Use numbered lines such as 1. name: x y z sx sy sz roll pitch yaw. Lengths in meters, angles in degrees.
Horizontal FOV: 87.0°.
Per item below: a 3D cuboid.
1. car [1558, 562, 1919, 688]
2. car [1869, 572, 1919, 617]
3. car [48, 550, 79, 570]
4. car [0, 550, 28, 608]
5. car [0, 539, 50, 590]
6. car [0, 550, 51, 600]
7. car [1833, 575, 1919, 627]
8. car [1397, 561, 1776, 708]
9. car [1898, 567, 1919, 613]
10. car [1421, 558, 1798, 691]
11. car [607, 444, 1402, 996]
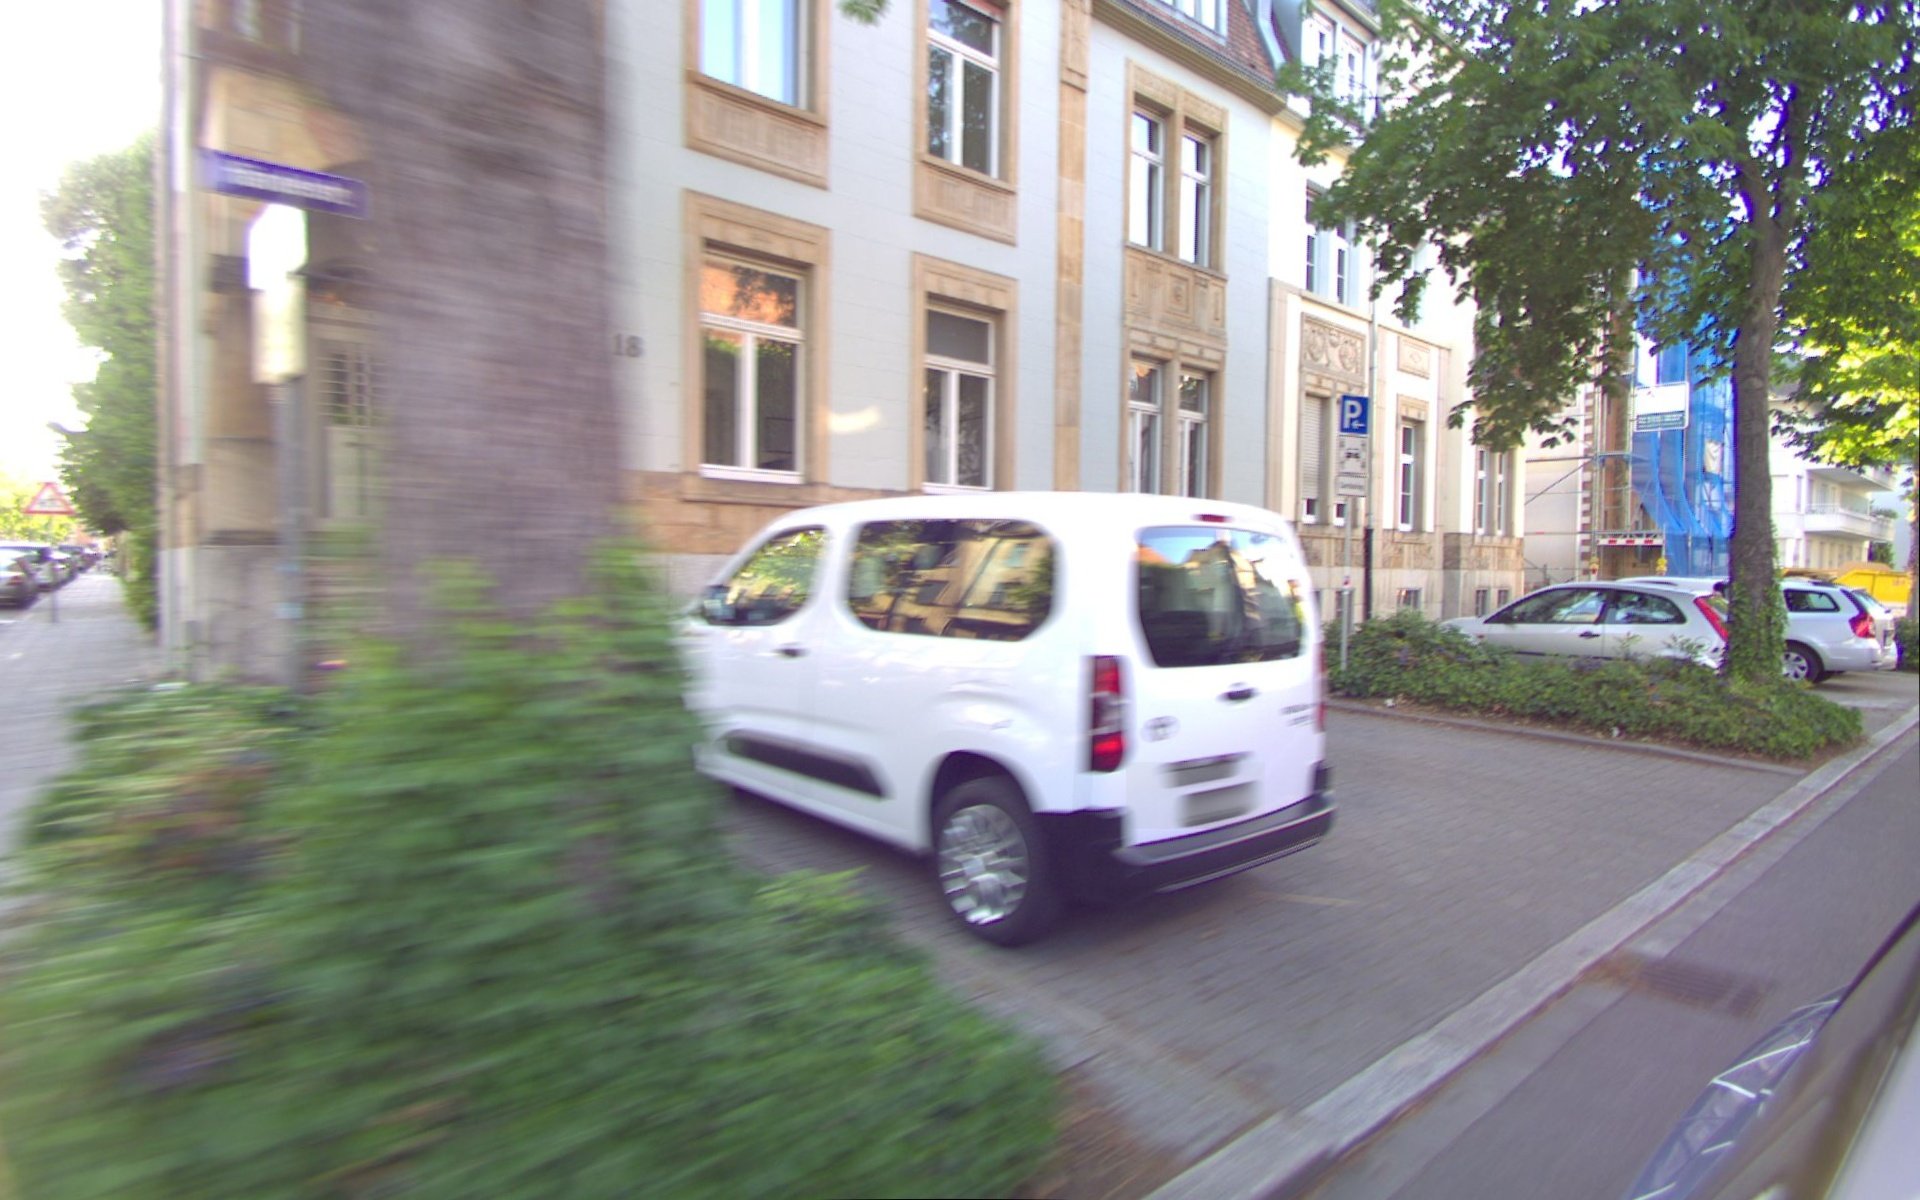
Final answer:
1. car: 11.890 0.273 15.682 1.656 1.553 4.156 0 4 -38
2. car: 38.368 -0.152 39.347 1.677 1.703 4.338 0 3 -43
3. car: -69.565 -3.097 78.544 1.726 1.494 4.165 0 2 -41
4. car: -26.798 -0.622 27.709 1.726 1.494 4.165 0 2 -41
5. car: -36.493 -1.394 39.198 1.726 1.862 4.165 0 2 -41
6. car: -30.024 -0.839 32.067 1.726 1.494 4.165 0 2 -41
7. car: 30.309 0.055 31.852 1.818 1.510 3.998 -1 4 -39
8. car: 7.870 0.316 12.985 1.704 1.480 3.756 0 4 -41
9. car: 44.488 -0.392 44.591 1.864 2.038 4.476 -1 2 -42
10. car: 9.398 0.234 14.964 1.796 1.553 4.324 0 4 -41
11. car: -0.158 0.265 5.627 1.965 1.829 4.324 0 4 -41
